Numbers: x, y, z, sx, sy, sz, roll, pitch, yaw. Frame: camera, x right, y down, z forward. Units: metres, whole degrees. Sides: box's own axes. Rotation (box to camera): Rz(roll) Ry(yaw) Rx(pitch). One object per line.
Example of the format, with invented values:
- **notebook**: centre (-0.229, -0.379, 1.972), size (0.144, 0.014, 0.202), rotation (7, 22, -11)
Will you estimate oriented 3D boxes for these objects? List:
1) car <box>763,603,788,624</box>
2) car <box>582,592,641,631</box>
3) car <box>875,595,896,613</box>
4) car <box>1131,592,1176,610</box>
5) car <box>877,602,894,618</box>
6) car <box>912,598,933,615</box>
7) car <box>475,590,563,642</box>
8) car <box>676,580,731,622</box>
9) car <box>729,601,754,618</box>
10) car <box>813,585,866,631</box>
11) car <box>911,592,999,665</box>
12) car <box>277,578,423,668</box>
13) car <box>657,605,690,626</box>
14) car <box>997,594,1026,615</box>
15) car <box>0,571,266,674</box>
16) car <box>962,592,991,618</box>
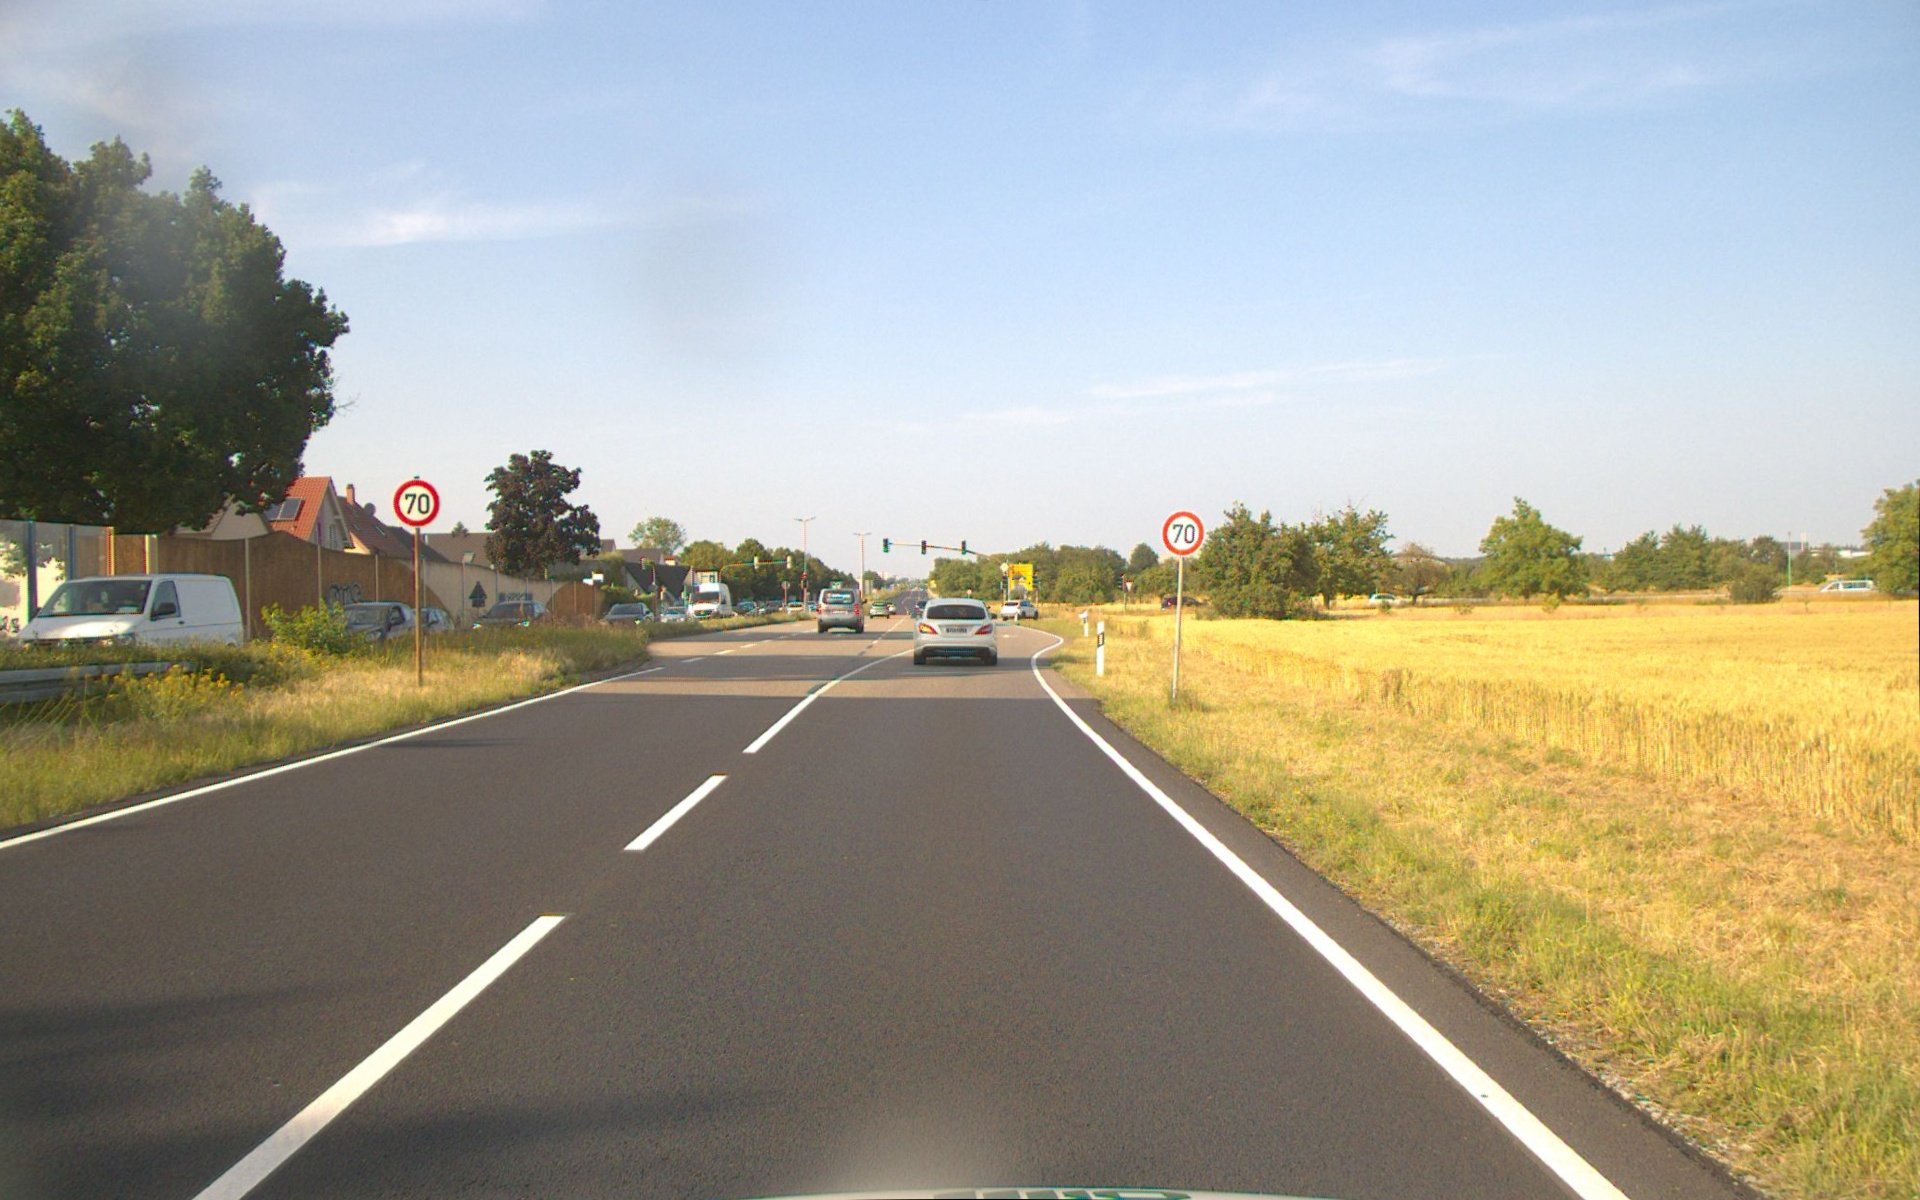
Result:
- **car**: centre (-15.457, 1.121, 138.929), size (1.696, 1.653, 4.921), rotation (1, 0, -2)
- **car**: centre (-13.893, 0.441, 66.065), size (1.615, 1.467, 3.567), rotation (1, 0, 0)
- **car**: centre (-6.526, 0.345, 144.436), size (1.682, 1.518, 3.584), rotation (1, 0, -1)
- **car**: centre (16.403, 0.109, 140.072), size (3.607, 1.445, 1.640), rotation (1, 0, 0)
- **car**: centre (-8.097, 1.048, 179.945), size (1.741, 1.694, 3.660), rotation (1, 0, -5)
- **car**: centre (-3.771, 0.641, 166.504), size (1.803, 1.713, 3.996), rotation (1, 0, -5)
- **car**: centre (-13.249, 0.461, 49.951), size (1.484, 1.491, 4.657), rotation (1, 0, -1)
- **car**: centre (-15.126, 0.059, 97.860), size (2.301, 2.343, 7.188), rotation (1, 0, -2)
- **car**: centre (-19.515, 0.807, 147.683), size (1.676, 1.482, 3.999), rotation (1, 0, -1)
- **car**: centre (-5.196, 0.314, 71.775), size (1.984, 1.925, 4.958), rotation (1, 1, -1)
- **car**: centre (-0.150, 0.600, 37.096), size (1.856, 1.535, 3.999), rotation (0, 0, -2)
- **car**: centre (-13.462, 0.480, 36.771), size (1.728, 1.864, 4.367), rotation (1, 0, -2)
- **car**: centre (-18.940, 1.010, 109.432), size (1.651, 1.308, 3.146), rotation (1, 0, -2)
- **car**: centre (4.049, 0.337, 129.421), size (1.815, 1.626, 4.003), rotation (1, 0, 9)
- **car**: centre (-13.380, 0.323, 27.170), size (1.941, 1.510, 5.058), rotation (1, 0, -2)
- **car**: centre (1.019, 0.309, 102.731), size (1.718, 1.543, 3.999), rotation (-1, 0, -1)
